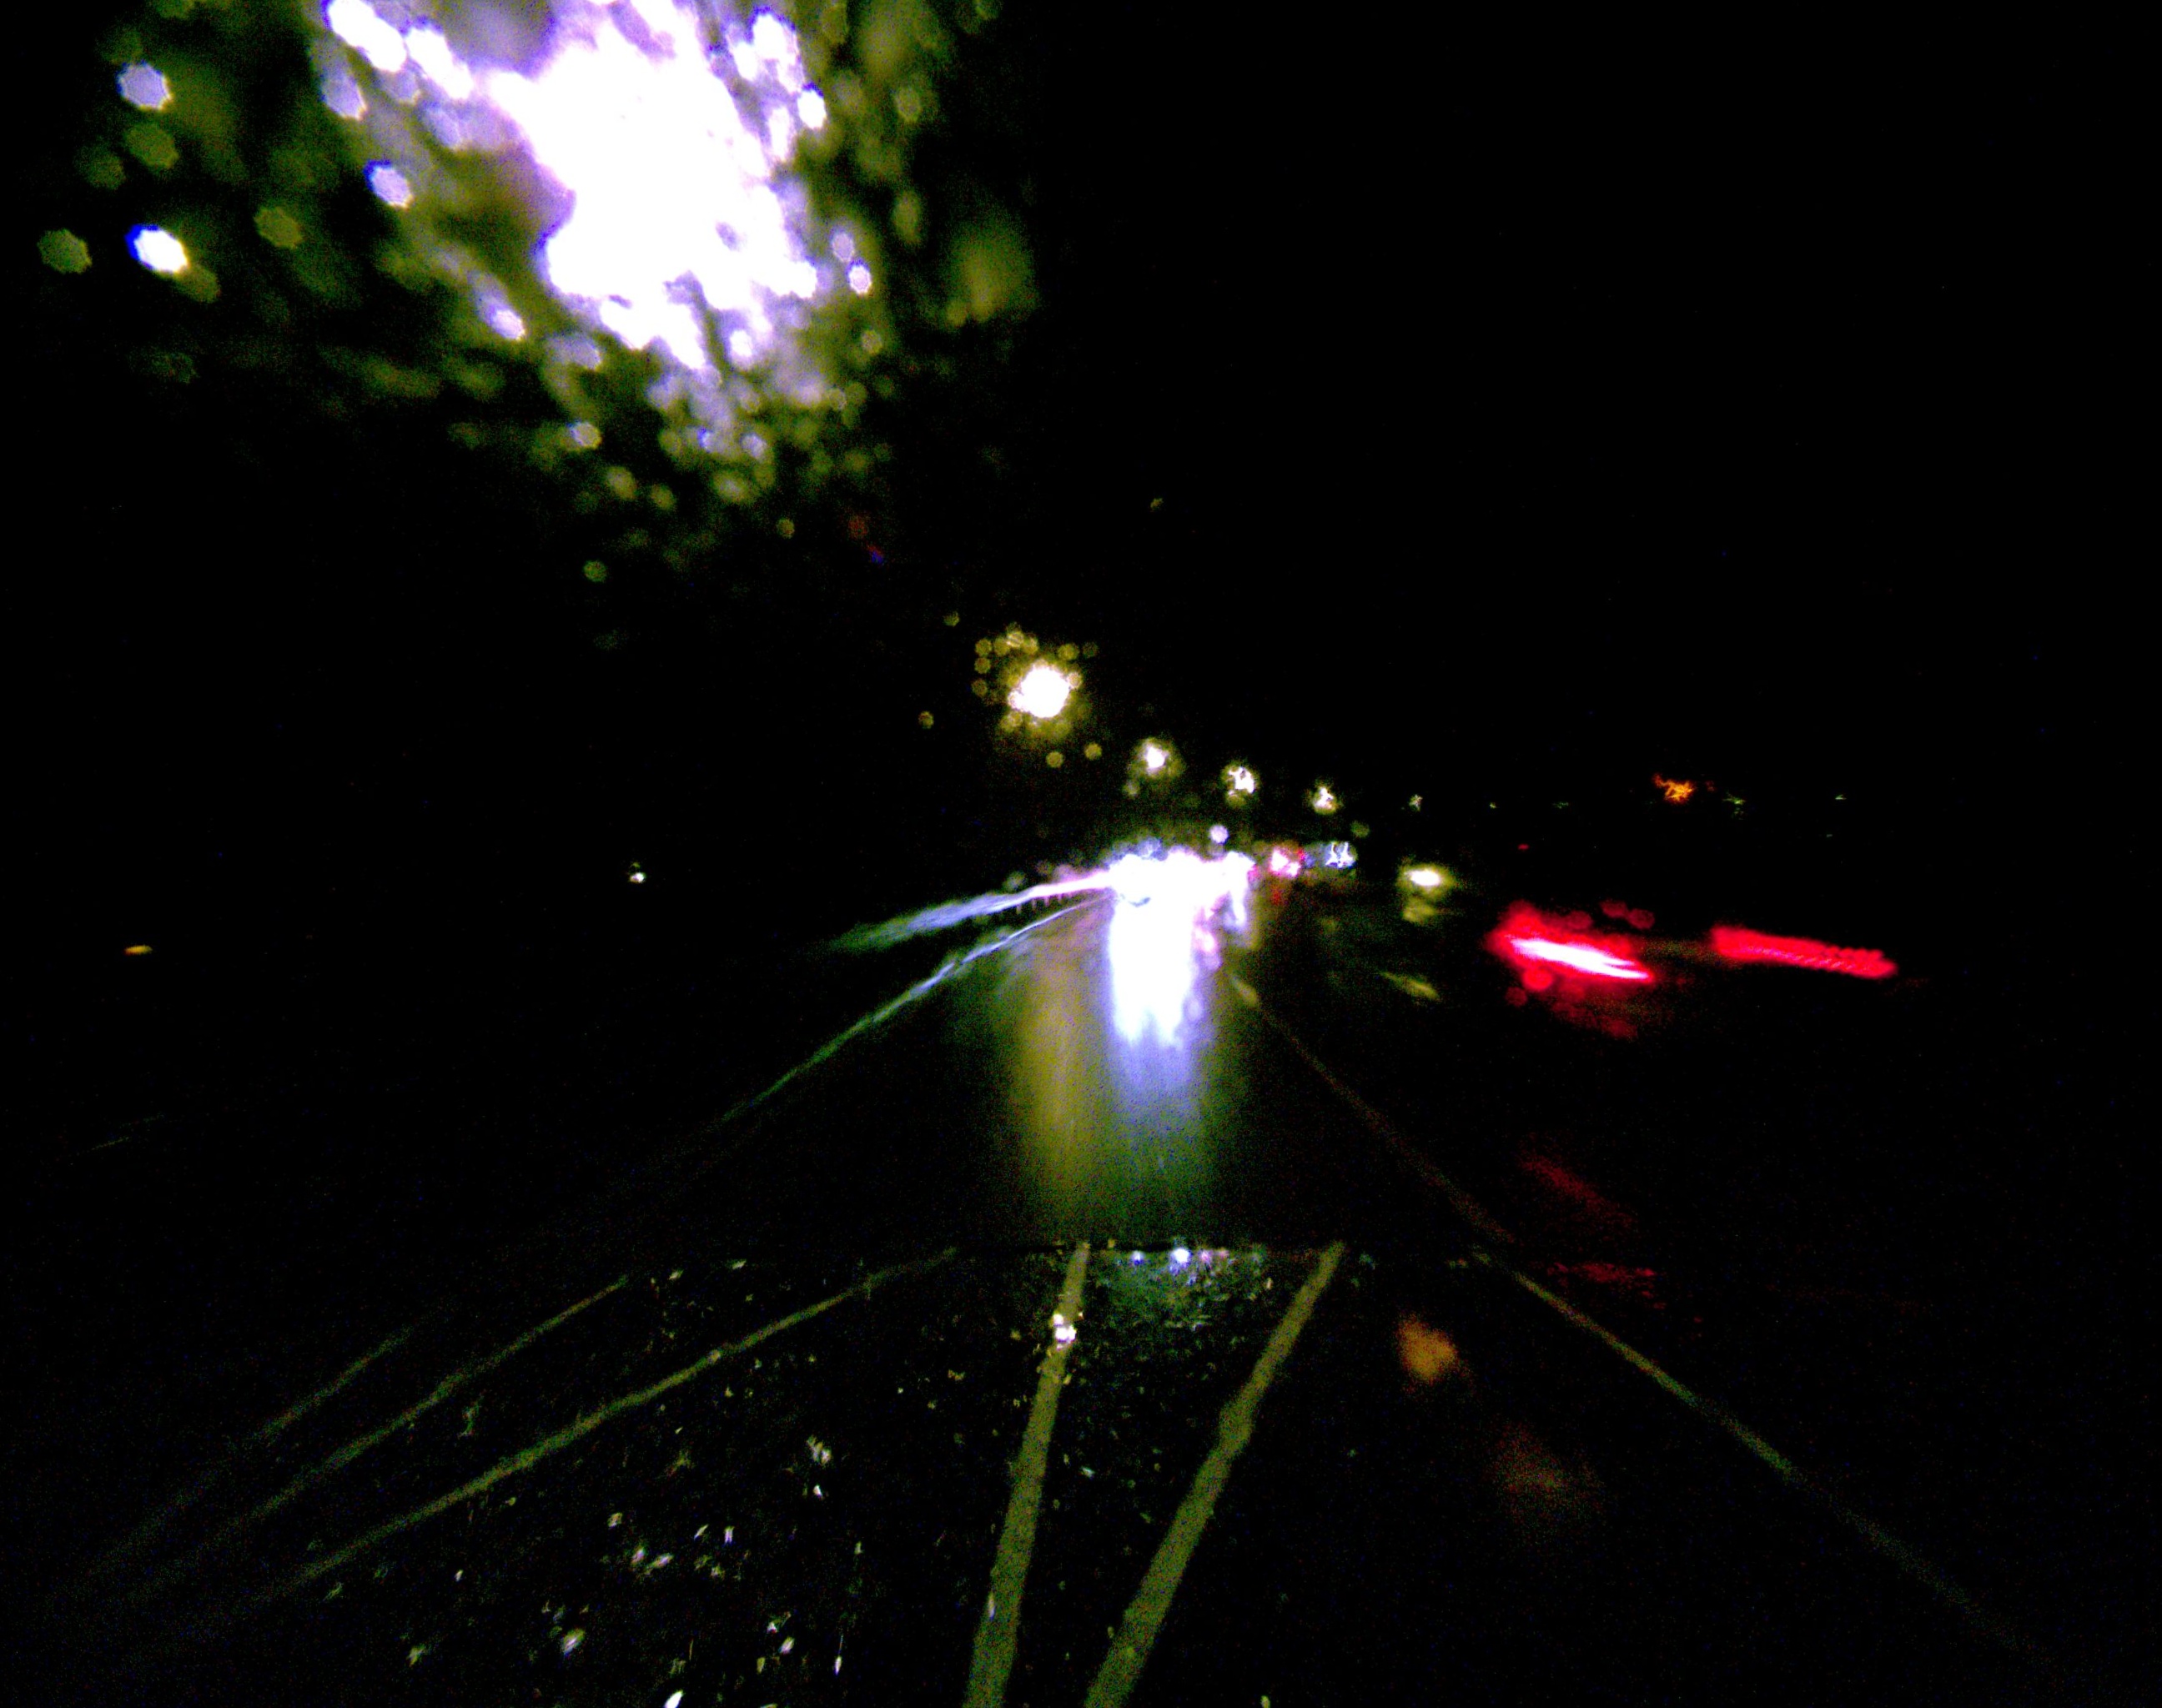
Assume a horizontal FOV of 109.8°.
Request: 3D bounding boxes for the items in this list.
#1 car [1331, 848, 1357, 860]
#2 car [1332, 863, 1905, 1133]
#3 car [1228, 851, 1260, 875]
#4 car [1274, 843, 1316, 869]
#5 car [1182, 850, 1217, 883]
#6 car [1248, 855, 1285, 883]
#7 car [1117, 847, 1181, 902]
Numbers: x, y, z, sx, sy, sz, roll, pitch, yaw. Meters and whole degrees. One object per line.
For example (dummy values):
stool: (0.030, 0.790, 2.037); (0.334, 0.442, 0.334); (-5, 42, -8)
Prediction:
car: (32.946, -0.005, 95.097); (1.994, 1.475, 4.008); (-2, 0, 35)
car: (3.778, 0.846, 6.575); (1.796, 1.384, 4.591); (-1, 1, 2)
car: (13.823, 0.699, 64.264); (1.996, 1.922, 4.006); (-2, 0, 21)
car: (17.873, 0.146, 63.251); (2.451, 1.976, 5.503); (-2, 0, 24)
car: (7.351, 0.768, 47.247); (1.997, 1.922, 4.002); (-2, 0, 7)
car: (9.804, 0.760, 40.004); (1.731, 1.396, 3.867); (-1, 0, 16)
car: (2.610, 0.720, 28.333); (1.935, 1.861, 4.003); (-2, 0, 11)
